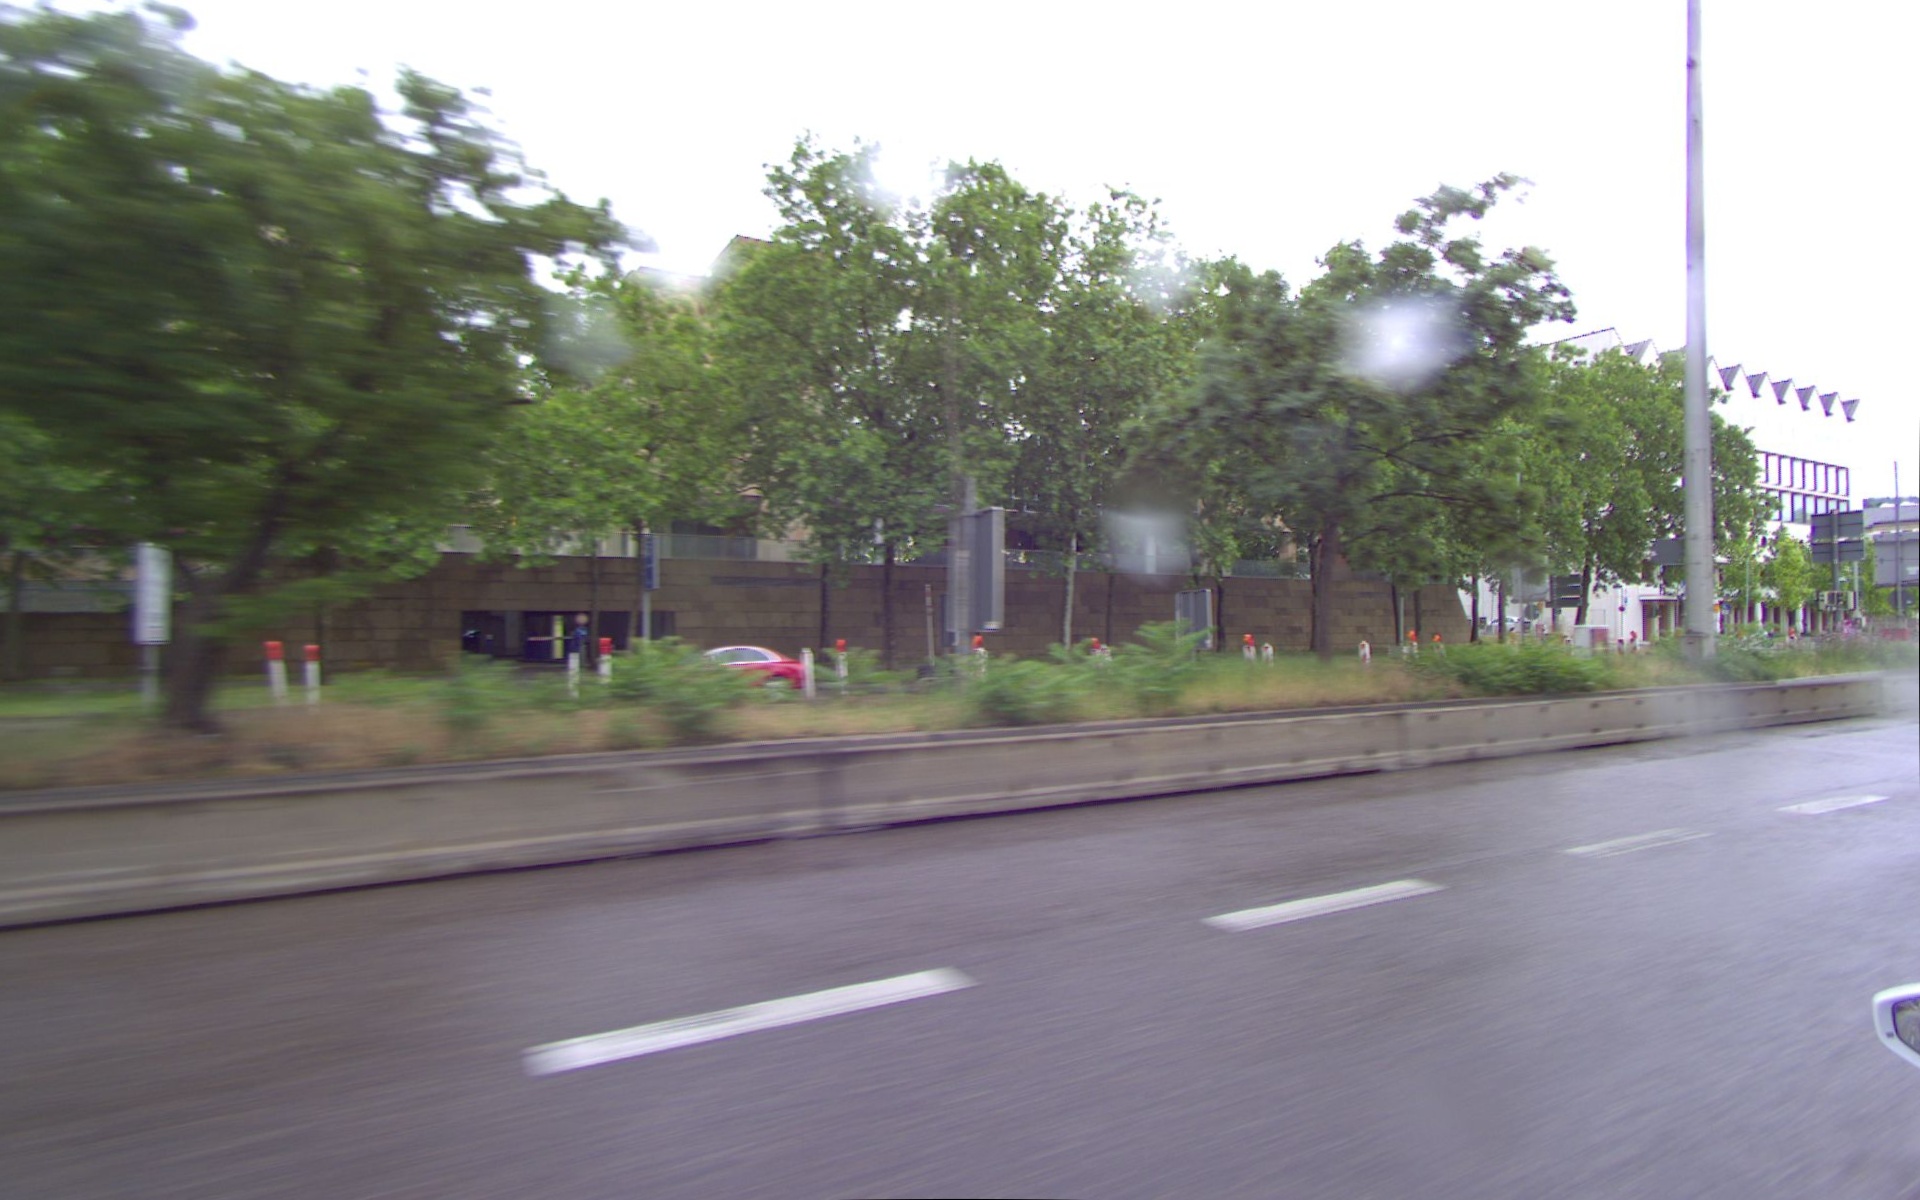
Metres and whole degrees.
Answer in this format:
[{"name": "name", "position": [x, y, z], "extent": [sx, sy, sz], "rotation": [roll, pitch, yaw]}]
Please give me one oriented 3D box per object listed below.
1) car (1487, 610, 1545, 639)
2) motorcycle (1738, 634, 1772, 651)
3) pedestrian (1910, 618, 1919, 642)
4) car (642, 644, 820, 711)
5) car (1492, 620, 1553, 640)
[{"name": "car", "position": [47.473, 2.061, 85.805], "extent": [1.972, 2.041, 3.975], "rotation": [-4, 5, -24]}, {"name": "motorcycle", "position": [55.639, 2.950, 70.313], "extent": [1.809, 1.169, 0.426], "rotation": [-2, -3, 34]}, {"name": "pedestrian", "position": [83.695, 2.616, 87.977], "extent": [0.531, 2.039, 0.530], "rotation": [-2, -4, 26]}, {"name": "car", "position": [-5.683, 1.900, 24.995], "extent": [3.952, 1.550, 1.985], "rotation": [2, -4, -29]}, {"name": "car", "position": [46.748, 2.458, 83.482], "extent": [1.978, 1.617, 3.966], "rotation": [1, -2, -31]}]
